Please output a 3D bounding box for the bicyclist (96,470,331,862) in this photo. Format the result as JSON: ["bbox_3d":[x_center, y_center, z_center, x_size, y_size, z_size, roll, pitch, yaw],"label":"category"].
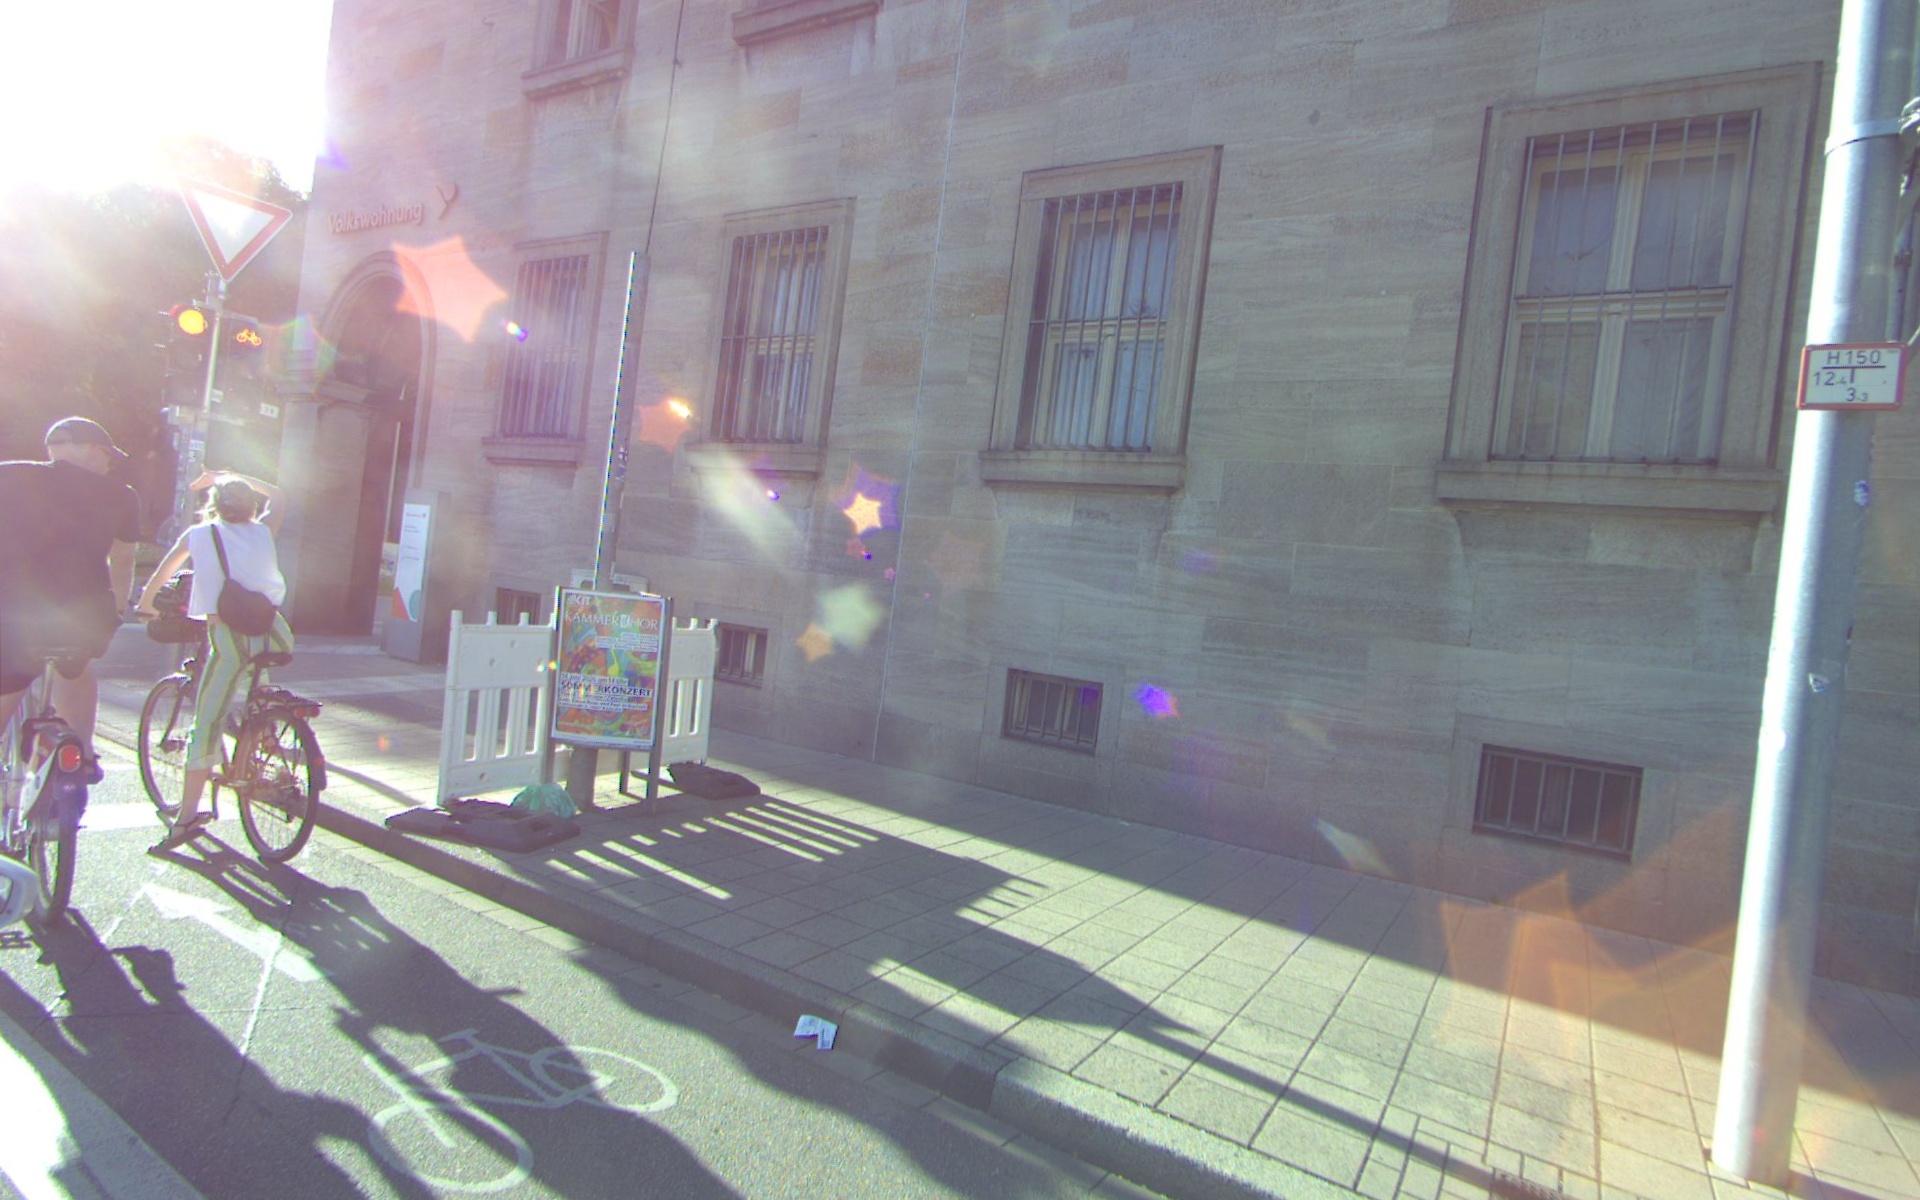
[{"bbox_3d":[-3.589,0.280,4.832,0.845,1.700,0.522,7,1,35],"label":"bicyclist"}]

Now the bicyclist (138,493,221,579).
[{"bbox_3d":[-12.413,-1.017,16.005,0.784,1.233,0.721,7,0,31],"label":"bicyclist"}]

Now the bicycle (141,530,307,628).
[{"bbox_3d":[-11.482,-0.298,15.760,0.778,1.307,1.855,7,-1,28],"label":"bicycle"}]

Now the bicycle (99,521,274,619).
[{"bbox_3d":[-12.392,-0.445,16.185,0.778,1.307,1.989,7,-1,30],"label":"bicycle"}]

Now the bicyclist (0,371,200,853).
[{"bbox_3d":[-3.523,0.044,3.881,0.647,1.698,0.669,7,1,38],"label":"bicyclist"}]

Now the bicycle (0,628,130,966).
[{"bbox_3d":[-3.770,0.663,3.960,1.923,0.916,0.388,7,0,41],"label":"bicycle"}]

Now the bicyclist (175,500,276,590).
[{"bbox_3d":[-11.448,-0.843,15.696,0.783,1.233,0.927,7,0,29],"label":"bicyclist"}]

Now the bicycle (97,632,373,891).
[{"bbox_3d":[-3.642,0.717,4.980,1.920,0.887,0.427,7,0,35],"label":"bicycle"}]
